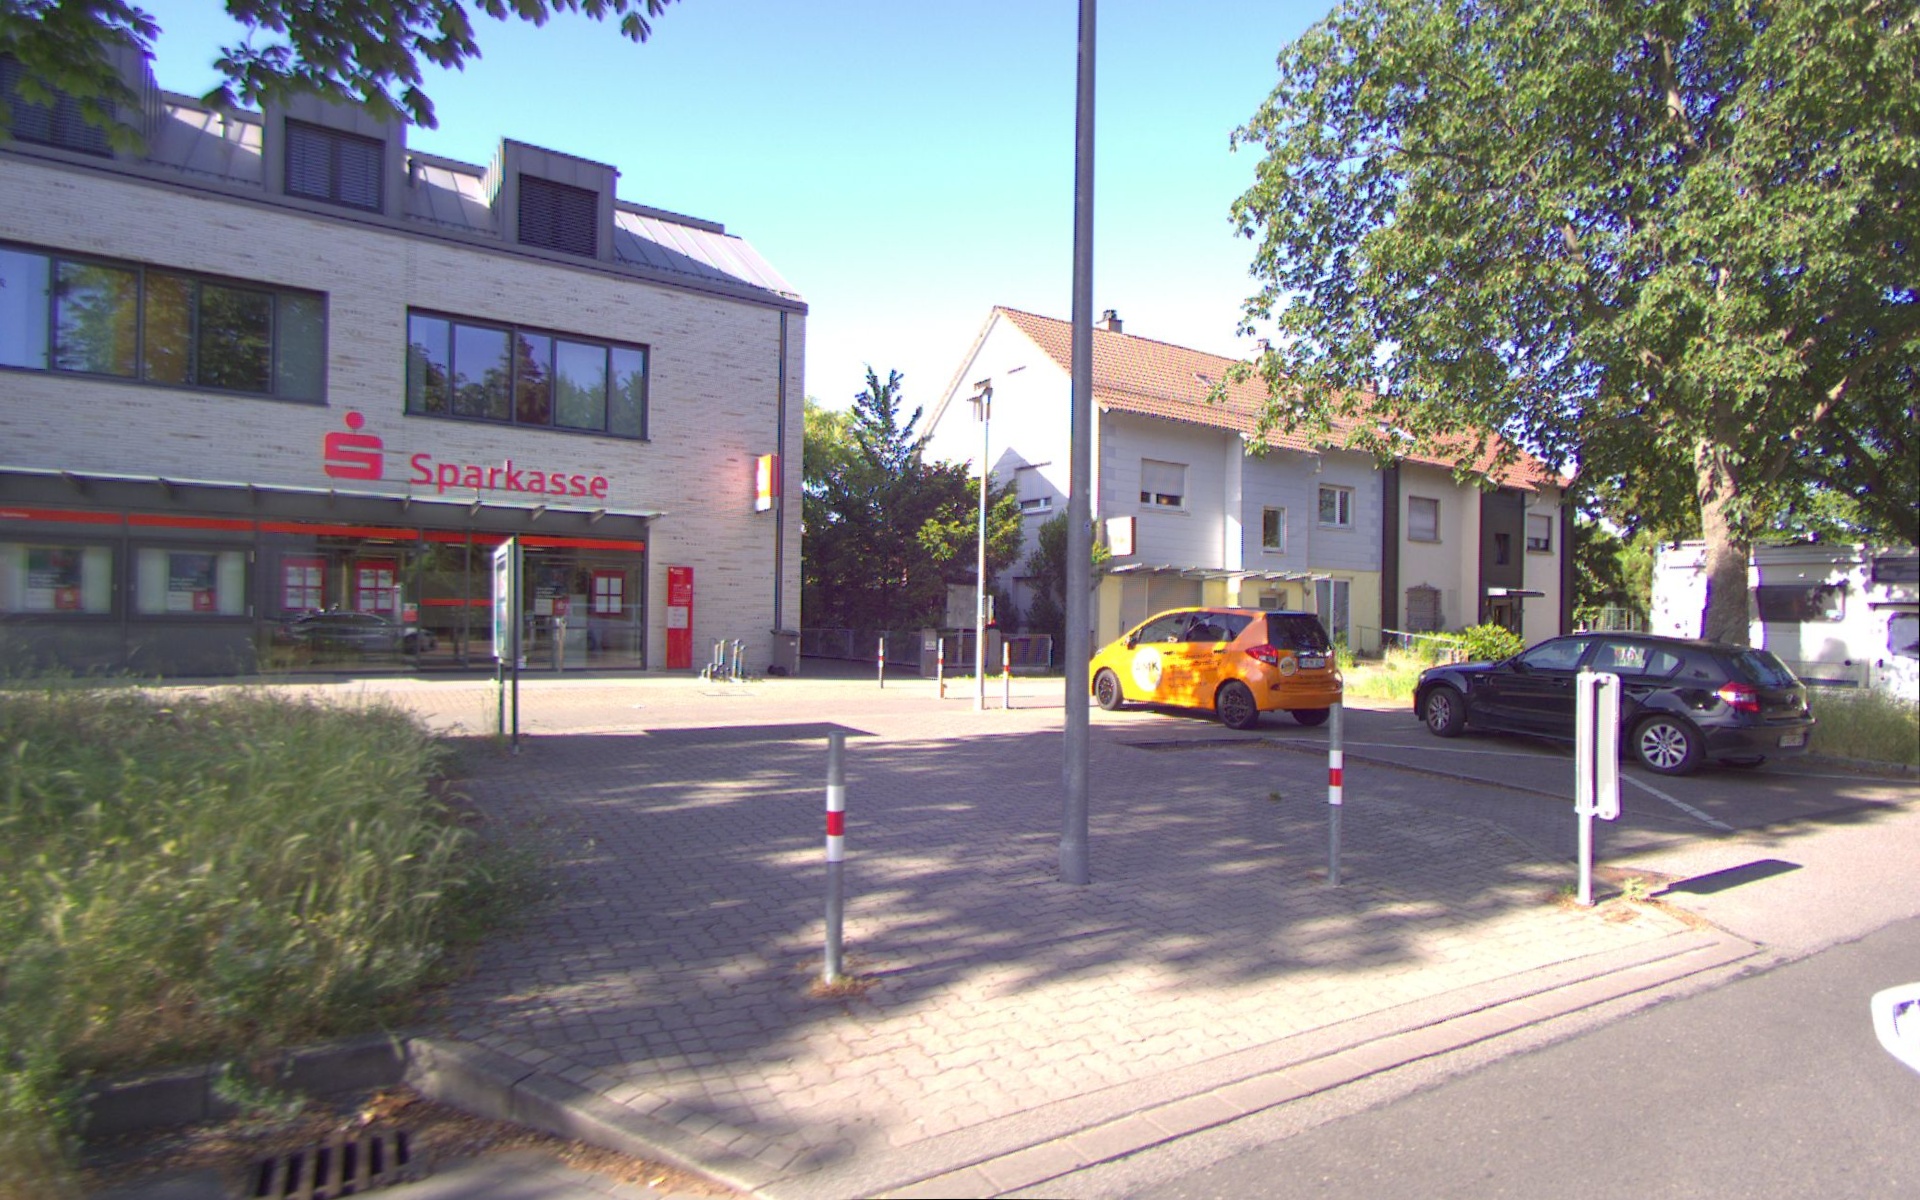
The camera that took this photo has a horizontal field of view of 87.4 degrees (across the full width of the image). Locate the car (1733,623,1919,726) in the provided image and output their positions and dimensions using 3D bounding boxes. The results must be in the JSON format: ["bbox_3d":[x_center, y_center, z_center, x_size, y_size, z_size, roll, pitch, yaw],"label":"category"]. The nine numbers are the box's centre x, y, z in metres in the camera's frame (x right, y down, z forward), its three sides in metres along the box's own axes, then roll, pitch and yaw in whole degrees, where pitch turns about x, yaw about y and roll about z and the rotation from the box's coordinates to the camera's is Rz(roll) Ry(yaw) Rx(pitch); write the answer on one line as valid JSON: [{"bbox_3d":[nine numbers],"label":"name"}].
[{"bbox_3d":[15.878,1.270,16.989,1.977,1.478,3.966,2,2,-31],"label":"car"}]

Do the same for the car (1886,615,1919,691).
[{"bbox_3d":[22.459,1.269,21.093,1.977,1.610,3.967,2,2,-30],"label":"car"}]

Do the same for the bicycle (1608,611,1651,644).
[{"bbox_3d":[25.344,1.026,37.976,0.696,1.192,4.032,0,-1,44],"label":"bicycle"}]

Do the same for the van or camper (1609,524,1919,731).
[{"bbox_3d":[13.550,0.349,15.362,1.975,2.843,5.753,2,2,-27],"label":"van or camper"}]

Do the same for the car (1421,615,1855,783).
[{"bbox_3d":[7.736,1.015,11.928,1.618,1.469,3.973,2,1,-26],"label":"car"}]

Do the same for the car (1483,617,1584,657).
[{"bbox_3d":[28.565,1.814,50.150,1.976,1.844,3.969,1,-1,-29],"label":"car"}]

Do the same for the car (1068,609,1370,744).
[{"bbox_3d":[3.562,0.976,14.468,1.851,1.563,3.961,2,0,-34],"label":"car"}]
